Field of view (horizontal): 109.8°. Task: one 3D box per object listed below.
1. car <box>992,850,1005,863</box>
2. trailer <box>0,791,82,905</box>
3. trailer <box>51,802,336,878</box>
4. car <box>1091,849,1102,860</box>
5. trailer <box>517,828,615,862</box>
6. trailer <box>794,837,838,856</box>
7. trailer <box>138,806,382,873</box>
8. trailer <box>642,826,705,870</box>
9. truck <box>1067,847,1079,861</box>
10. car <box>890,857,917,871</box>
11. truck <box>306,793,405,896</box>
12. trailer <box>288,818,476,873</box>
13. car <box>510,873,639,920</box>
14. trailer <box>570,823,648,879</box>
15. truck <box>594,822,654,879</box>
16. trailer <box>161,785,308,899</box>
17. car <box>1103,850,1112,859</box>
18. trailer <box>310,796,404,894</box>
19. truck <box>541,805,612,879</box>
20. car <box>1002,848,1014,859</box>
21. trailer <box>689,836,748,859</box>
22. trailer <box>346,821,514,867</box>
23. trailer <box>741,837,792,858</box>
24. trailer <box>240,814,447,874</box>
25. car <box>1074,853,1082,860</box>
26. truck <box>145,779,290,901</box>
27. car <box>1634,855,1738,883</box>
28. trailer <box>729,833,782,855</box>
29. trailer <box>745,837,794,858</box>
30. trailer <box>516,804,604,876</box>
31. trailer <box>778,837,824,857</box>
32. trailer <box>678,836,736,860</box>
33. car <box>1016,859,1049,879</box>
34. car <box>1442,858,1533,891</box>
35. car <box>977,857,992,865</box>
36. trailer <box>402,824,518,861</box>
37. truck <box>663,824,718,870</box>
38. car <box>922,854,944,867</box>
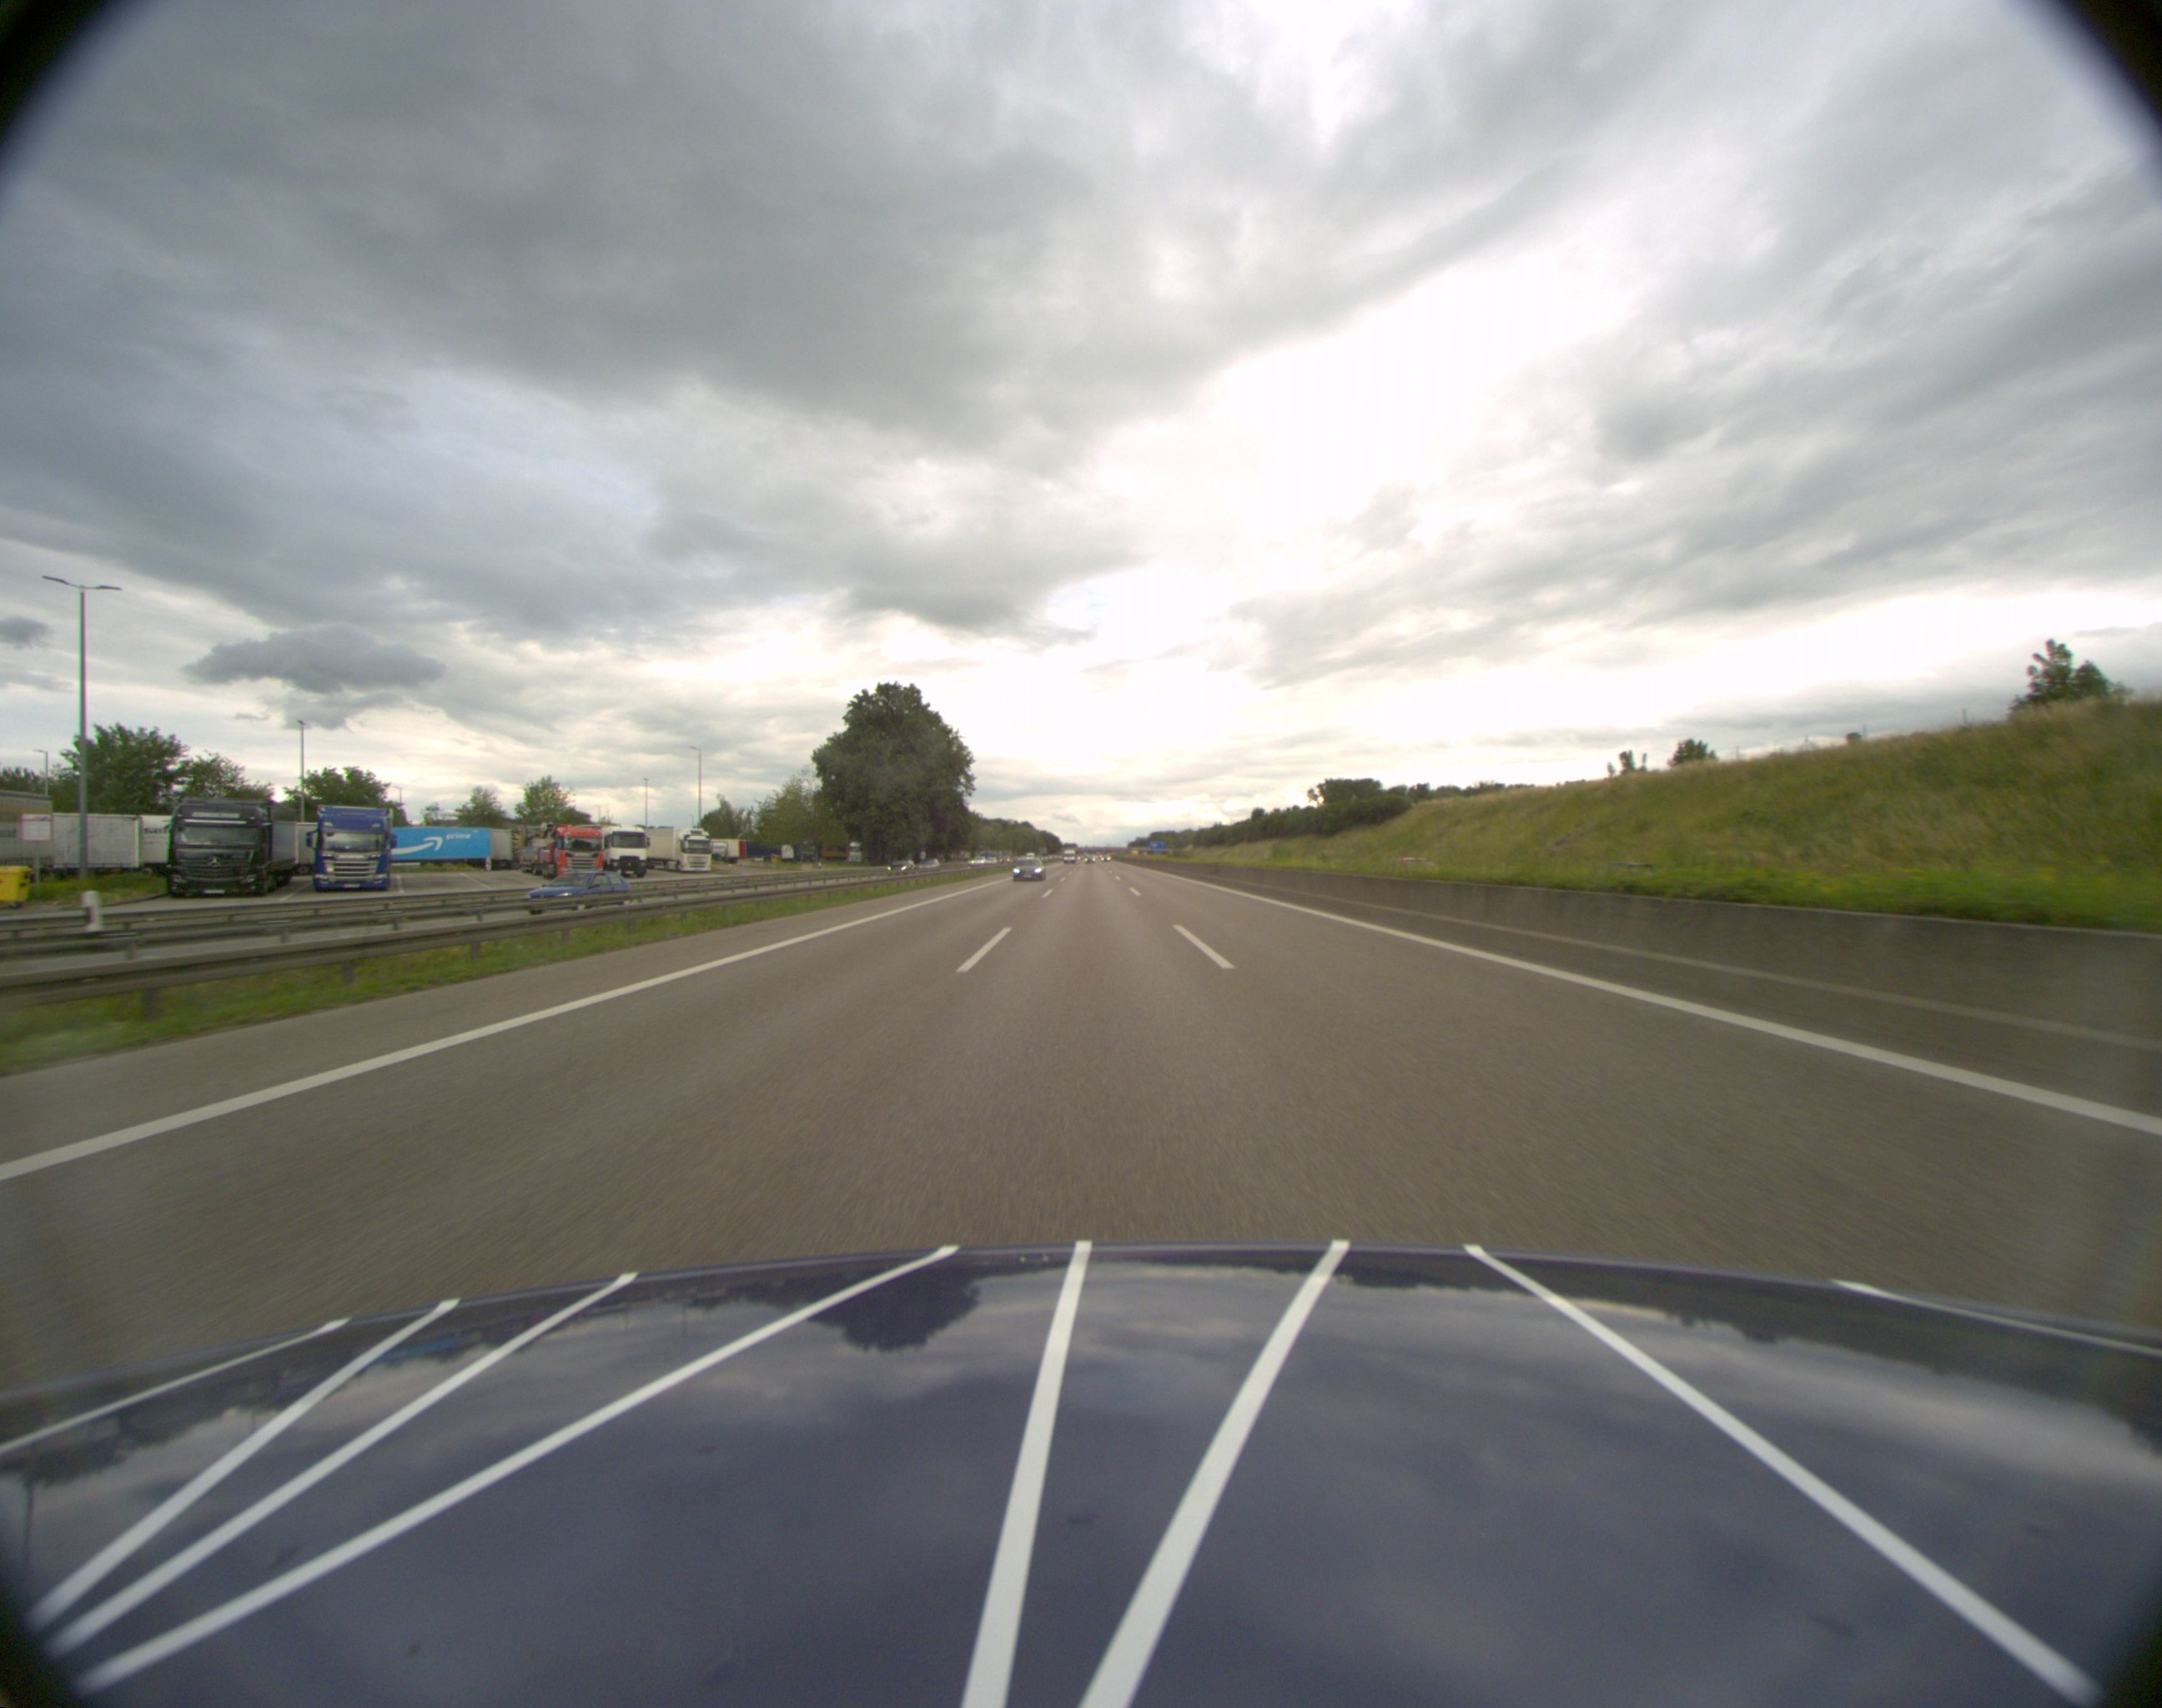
[{"bbox_3d":[-13.842,0.387,127.970,1.606,2.002,4.000,-2,1,1],"label":"car"},{"bbox_3d":[-40.366,-0.167,27.123,2.656,4.070,13.764,-3,1,-40],"label":"trailer"},{"bbox_3d":[-52.976,-0.904,46.066,2.914,4.098,10.820,-1,1,43],"label":"trailer"},{"bbox_3d":[2.849,0.052,140.363,1.998,2.002,4.000,0,1,1],"label":"car"},{"bbox_3d":[-54.268,-0.984,80.286,8.050,3.227,2.914,-3,1,-45],"label":"trailer"},{"bbox_3d":[-52.921,-1.473,151.832,2.914,3.438,7.603,-1,1,45],"label":"trailer"},{"bbox_3d":[-54.774,-1.047,51.294,2.914,4.098,10.820,-1,1,43],"label":"trailer"},{"bbox_3d":[-39.966,-0.487,74.292,2.821,4.031,10.932,-3,1,-41],"label":"trailer"},{"bbox_3d":[-1.551,-0.057,144.562,1.998,2.482,5.869,-2,1,1],"label":"truck"},{"bbox_3d":[-15.961,0.854,68.613,1.465,1.208,4.000,0,0,1],"label":"car"},{"bbox_3d":[-34.969,-0.422,36.782,3.066,4.531,6.069,-3,1,-43],"label":"truck"},{"bbox_3d":[-56.142,-0.754,61.408,2.914,4.098,10.820,-1,1,43],"label":"trailer"},{"bbox_3d":[-16.455,1.331,24.913,1.796,1.251,3.545,-2,1,1],"label":"car"},{"bbox_3d":[-38.807,-0.122,62.122,2.668,4.089,14.030,-3,1,-43],"label":"trailer"},{"bbox_3d":[-34.764,-0.239,57.711,2.674,4.124,5.914,-3,1,-42],"label":"truck"},{"bbox_3d":[-39.587,-0.431,36.028,3.170,4.565,12.377,-3,1,-42],"label":"trailer"},{"bbox_3d":[6.167,0.037,175.184,1.998,2.002,4.000,0,1,1],"label":"car"},{"bbox_3d":[-39.000,-0.334,41.160,3.069,4.553,13.620,-3,1,-43],"label":"trailer"},{"bbox_3d":[-33.552,-0.746,50.493,2.883,4.598,5.158,-3,1,-43],"label":"truck"},{"bbox_3d":[-14.482,-0.160,151.246,1.704,2.002,4.343,-2,1,1],"label":"car"},{"bbox_3d":[-57.901,-1.017,121.507,2.914,3.455,7.765,-1,1,45],"label":"trailer"},{"bbox_3d":[-57.063,-0.973,66.988,2.914,3.801,10.820,-1,1,43],"label":"trailer"},{"bbox_3d":[-55.467,-1.194,134.047,2.914,3.438,7.603,-1,1,45],"label":"trailer"},{"bbox_3d":[-54.921,-0.857,57.057,2.914,4.098,10.820,-1,1,43],"label":"trailer"},{"bbox_3d":[-0.844,0.700,219.707,1.998,2.002,3.999,-2,1,0],"label":"car"},{"bbox_3d":[-35.653,-0.517,31.647,3.174,4.531,6.069,-3,1,-43],"label":"truck"},{"bbox_3d":[27.598,0.654,34.840,1.657,1.200,4.000,0,0,1],"label":"car"},{"bbox_3d":[-55.171,-1.654,129.091,2.914,3.438,7.603,-1,1,45],"label":"trailer"},{"bbox_3d":[-56.458,-1.197,137.871,2.914,3.438,7.603,-1,1,45],"label":"trailer"},{"bbox_3d":[-38.670,-0.814,56.008,2.869,4.651,15.767,-3,1,-43],"label":"trailer"},{"bbox_3d":[-53.618,-1.385,145.829,2.914,3.438,7.603,-1,1,45],"label":"trailer"},{"bbox_3d":[-57.402,-0.944,116.737,2.914,3.438,7.408,-1,1,45],"label":"trailer"},{"bbox_3d":[-3.060,0.946,48.224,1.781,1.180,4.000,0,0,1],"label":"car"},{"bbox_3d":[13.348,0.648,25.119,1.491,0.965,2.925,0,0,1],"label":"car"},{"bbox_3d":[-14.516,1.019,114.514,1.828,1.236,3.878,0,0,1],"label":"car"},{"bbox_3d":[-58.192,-1.120,71.364,8.050,3.227,2.914,-3,1,-45],"label":"trailer"},{"bbox_3d":[-35.772,-0.591,69.524,2.831,4.037,6.432,-3,1,-41],"label":"truck"},{"bbox_3d":[-15.265,0.613,78.412,1.413,1.299,4.000,0,0,1],"label":"car"}]
